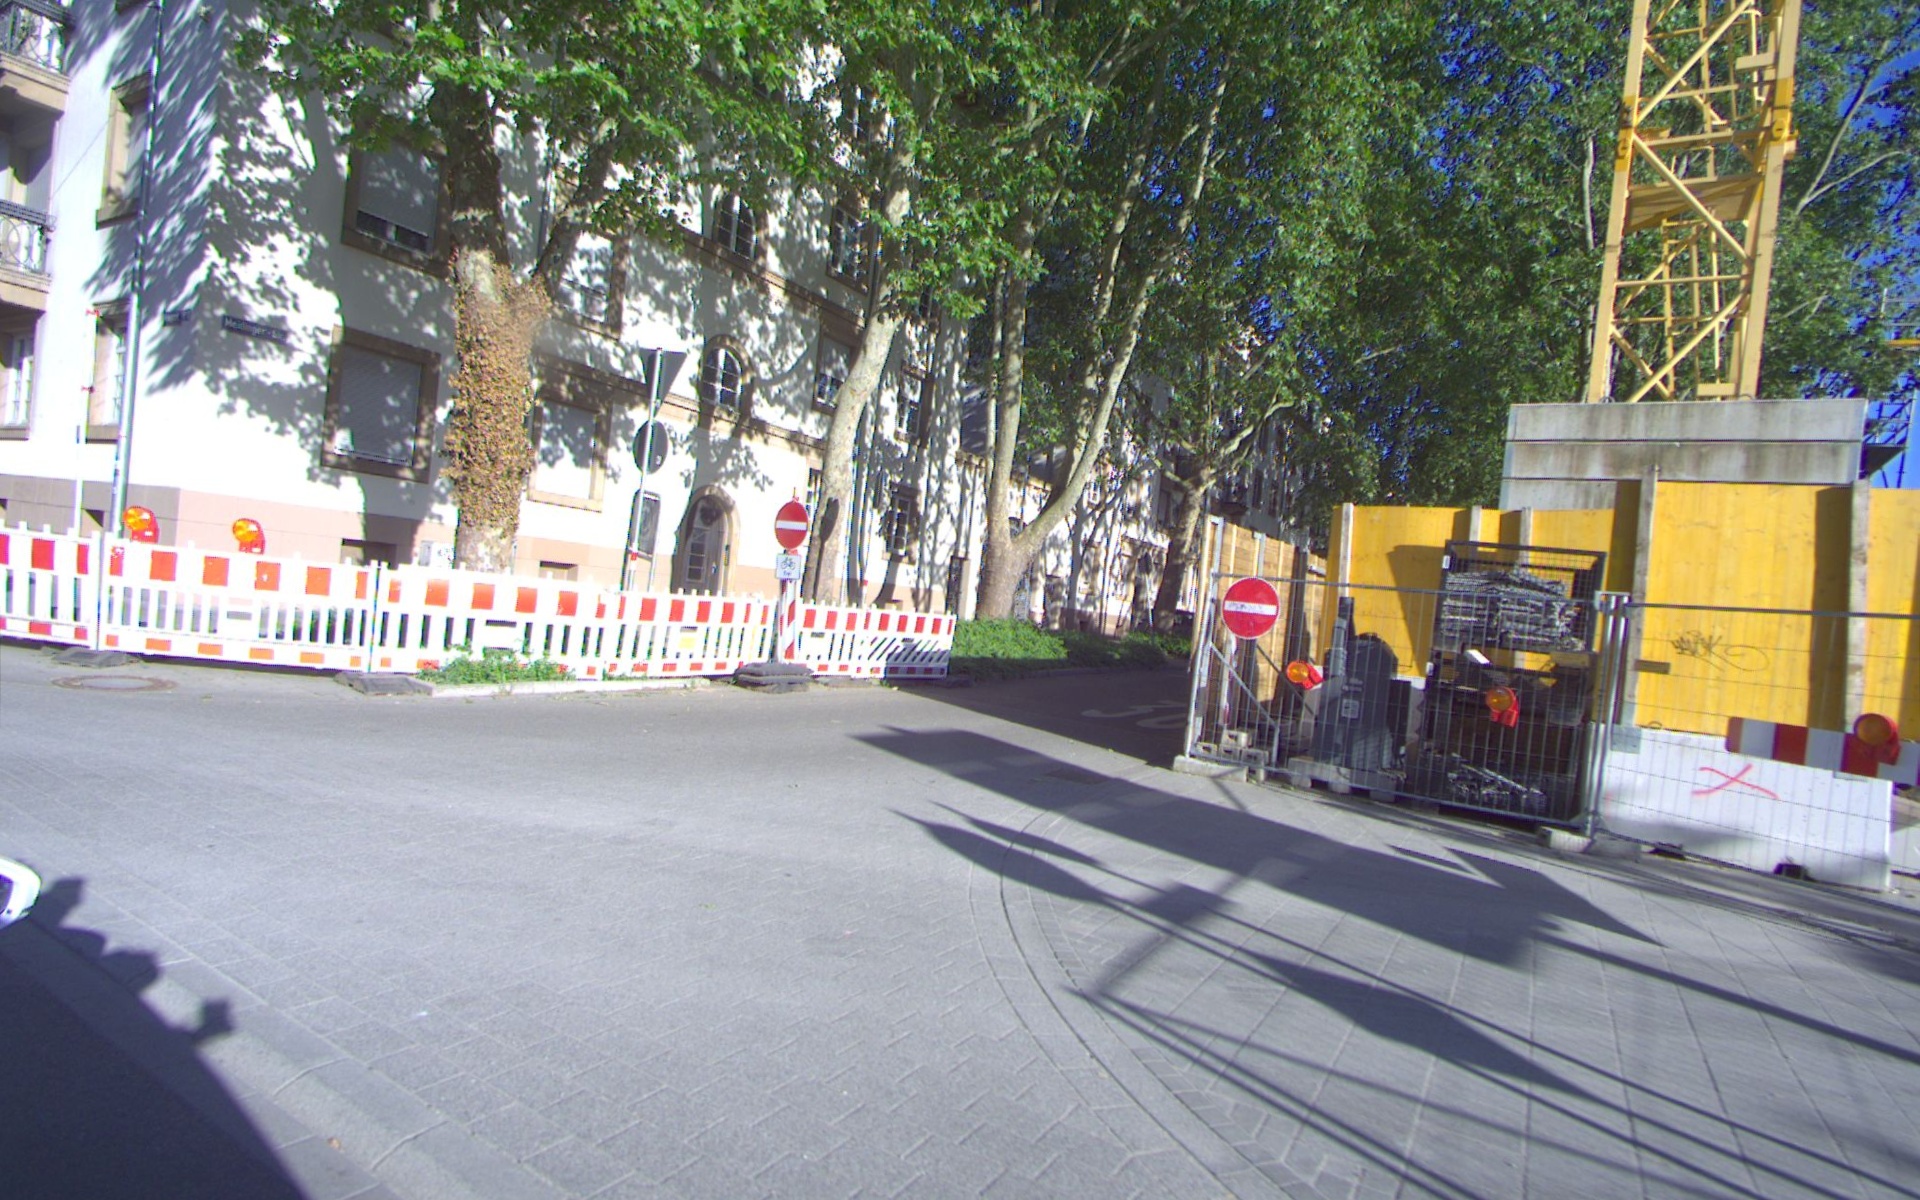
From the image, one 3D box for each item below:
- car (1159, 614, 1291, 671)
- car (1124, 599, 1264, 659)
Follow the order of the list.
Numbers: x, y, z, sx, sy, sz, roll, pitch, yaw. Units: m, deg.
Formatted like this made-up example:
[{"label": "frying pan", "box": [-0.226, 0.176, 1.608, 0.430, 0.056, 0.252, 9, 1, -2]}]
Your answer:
[{"label": "car", "box": [9.931, 1.578, 37.797, 4.295, 1.603, 1.867, 6, 1, 32]}, {"label": "car", "box": [8.215, 1.010, 35.389, 4.295, 1.603, 1.867, 6, 1, 32]}]
